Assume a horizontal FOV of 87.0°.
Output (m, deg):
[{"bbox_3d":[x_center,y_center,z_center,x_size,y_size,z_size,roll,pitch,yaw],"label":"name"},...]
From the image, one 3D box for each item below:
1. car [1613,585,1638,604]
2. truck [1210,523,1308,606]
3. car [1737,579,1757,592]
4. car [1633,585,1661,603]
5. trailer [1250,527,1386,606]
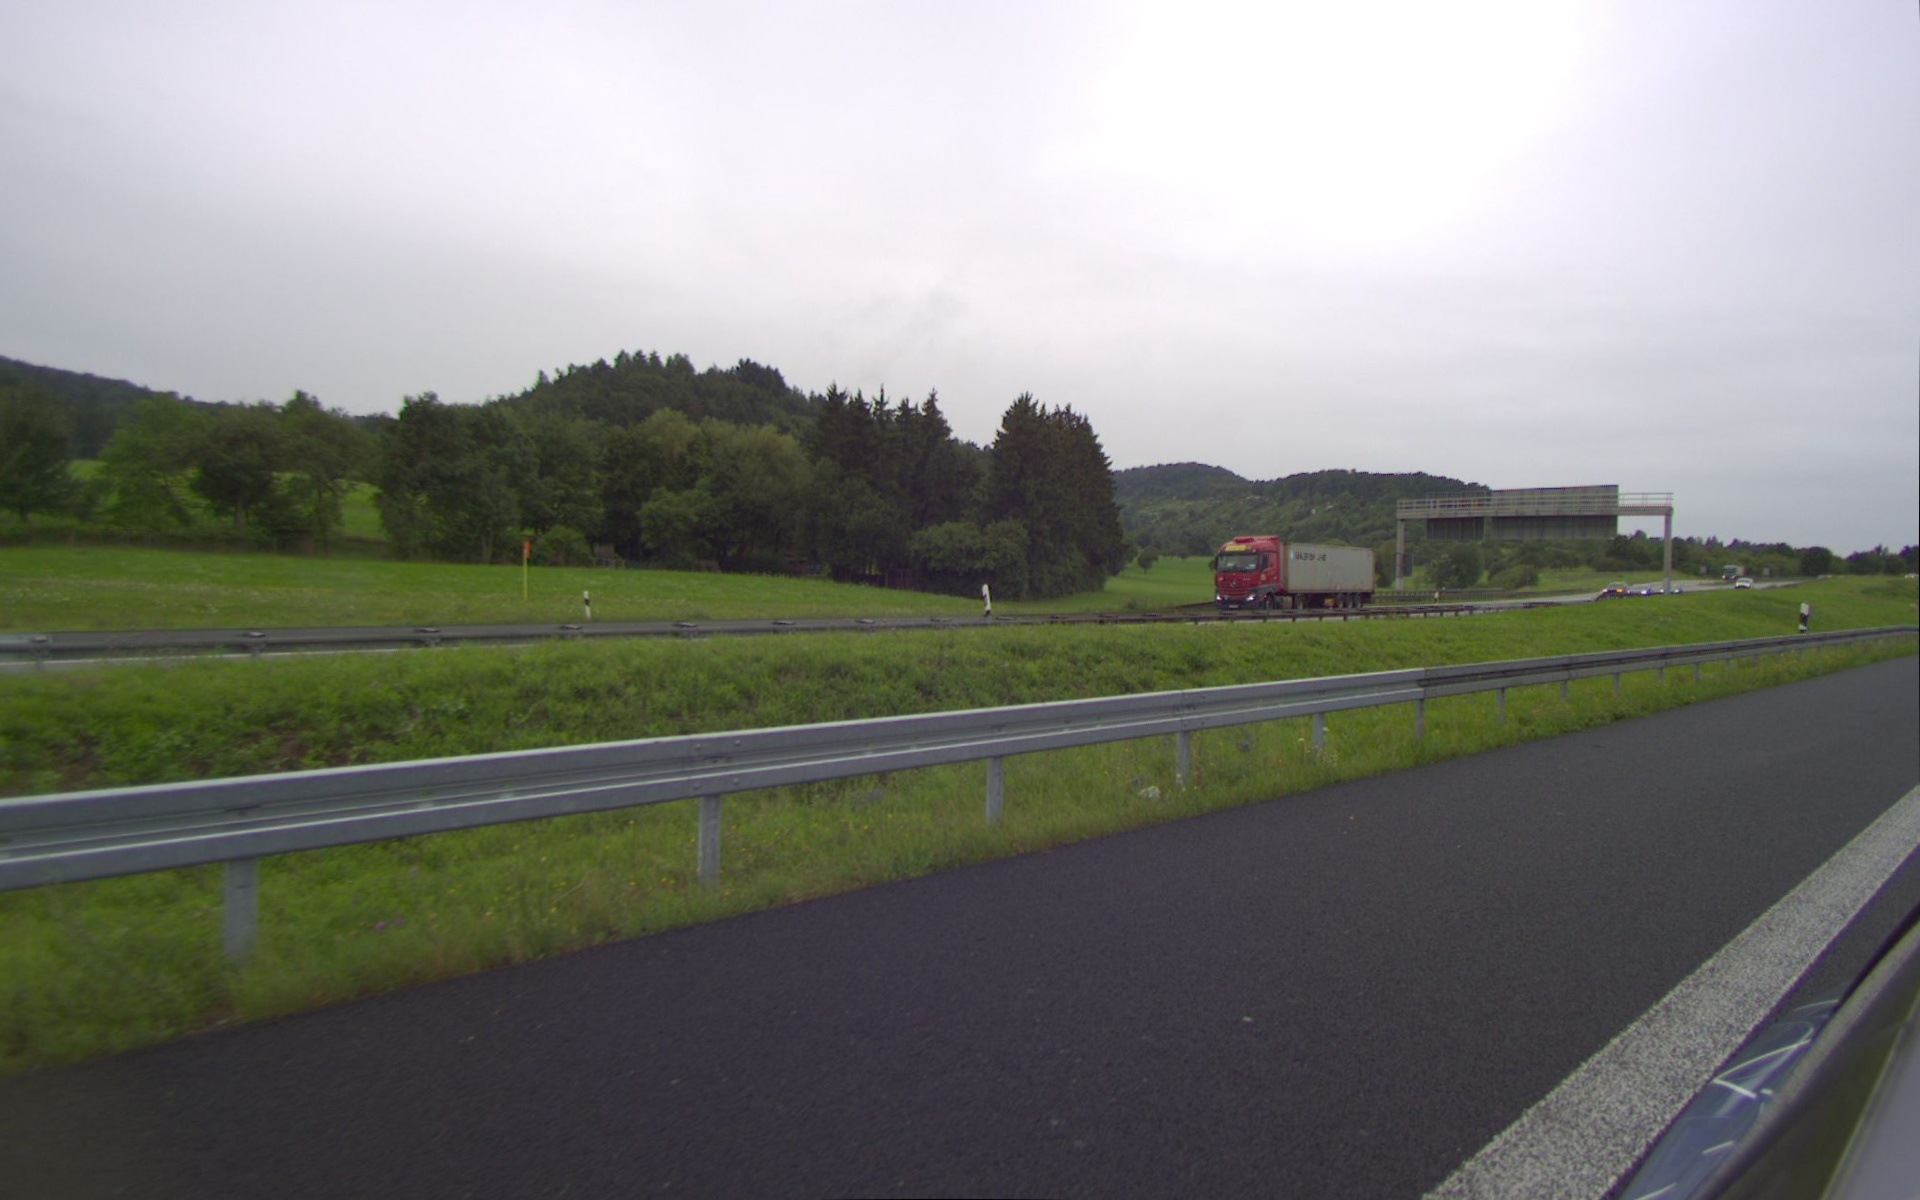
[{"bbox_3d":[74.126,-0.598,112.671,1.648,2.039,3.938,2,1,43],"label":"car"},{"bbox_3d":[15.346,-1.722,51.727,2.507,4.037,5.836,-1,0,43],"label":"truck"},{"bbox_3d":[125.308,-2.243,161.079,3.935,2.039,1.995,0,1,-45],"label":"car"},{"bbox_3d":[70.021,-0.653,103.123,1.991,1.742,4.255,2,1,40],"label":"car"},{"bbox_3d":[20.483,-1.767,57.171,2.490,4.034,12.210,-1,0,43],"label":"trailer"}]
